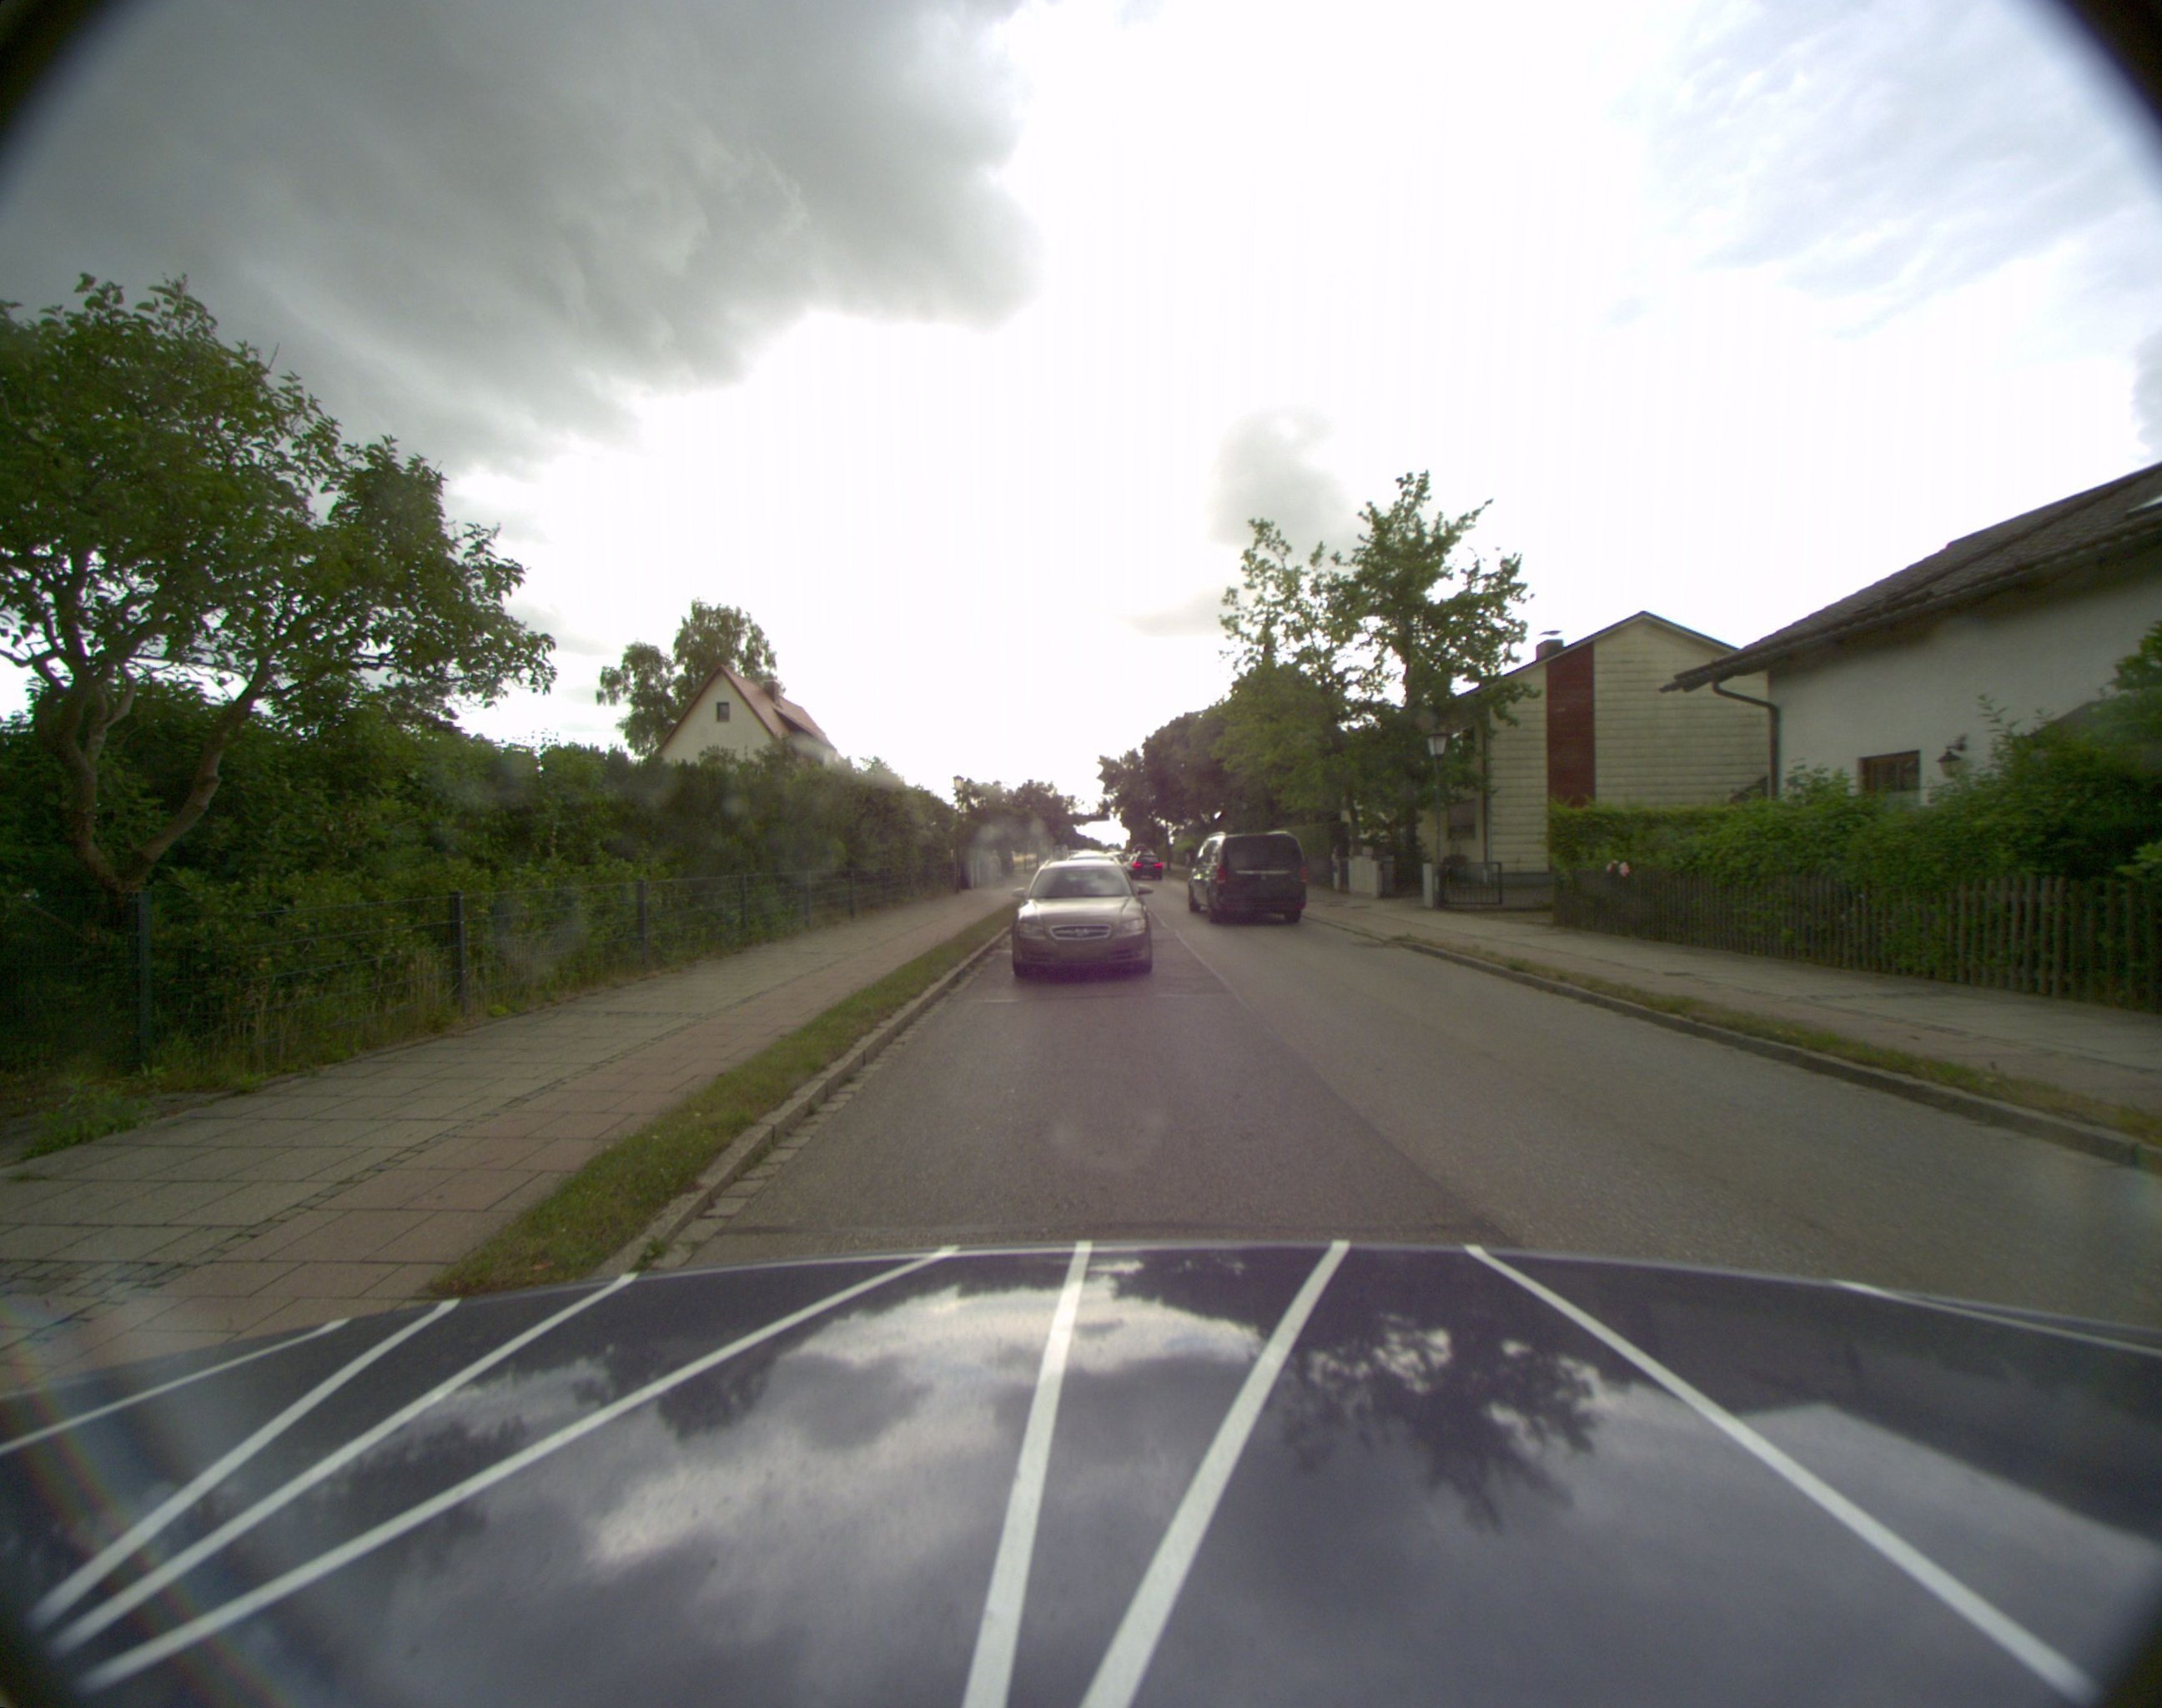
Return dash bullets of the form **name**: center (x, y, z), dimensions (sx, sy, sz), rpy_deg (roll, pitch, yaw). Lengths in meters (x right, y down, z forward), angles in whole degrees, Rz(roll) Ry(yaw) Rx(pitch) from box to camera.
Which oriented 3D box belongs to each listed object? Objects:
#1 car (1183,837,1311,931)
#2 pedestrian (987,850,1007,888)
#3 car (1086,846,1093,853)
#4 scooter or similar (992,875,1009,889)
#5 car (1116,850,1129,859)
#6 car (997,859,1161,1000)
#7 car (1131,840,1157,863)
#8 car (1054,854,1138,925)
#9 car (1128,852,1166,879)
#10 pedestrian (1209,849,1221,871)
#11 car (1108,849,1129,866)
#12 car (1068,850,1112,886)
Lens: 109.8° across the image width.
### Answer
- **car**: center (3.632, 0.575, 17.559), dimensions (1.969, 1.842, 4.947), rpy_deg (-1, 0, 2)
- **pedestrian**: center (-3.582, 0.623, 32.365), dimensions (0.793, 1.593, 0.670), rpy_deg (-1, 1, -11)
- **car**: center (2.510, -1.454, 230.721), dimensions (1.998, 2.002, 4.000), rpy_deg (-1, 0, 1)
- **scooter or similar**: center (-3.345, 1.182, 31.709), dimensions (0.618, 0.553, 0.741), rpy_deg (-1, 0, -12)
- **car**: center (6.710, 0.011, 123.695), dimensions (2.029, 1.362, 4.000), rpy_deg (-1, 0, 2)
- **car**: center (-0.005, 0.865, 10.672), dimensions (1.809, 1.476, 4.270), rpy_deg (-2, 0, 0)
- **car**: center (6.589, -0.239, 80.002), dimensions (2.246, 2.258, 4.469), rpy_deg (-2, 0, -2)
- **car**: center (0.356, 0.800, 19.658), dimensions (1.866, 1.518, 4.942), rpy_deg (-2, 0, 0)
- **car**: center (3.805, 0.639, 44.447), dimensions (1.851, 1.445, 4.548), rpy_deg (-1, 0, 0)
- **pedestrian**: center (8.969, 0.388, 50.829), dimensions (0.631, 1.429, 0.563), rpy_deg (-1, 1, 1)
- **car**: center (3.589, 0.315, 73.269), dimensions (1.756, 1.475, 4.375), rpy_deg (-2, 0, -1)
- **car**: center (0.408, 0.594, 35.244), dimensions (1.866, 1.518, 4.122), rpy_deg (-2, 0, 0)
